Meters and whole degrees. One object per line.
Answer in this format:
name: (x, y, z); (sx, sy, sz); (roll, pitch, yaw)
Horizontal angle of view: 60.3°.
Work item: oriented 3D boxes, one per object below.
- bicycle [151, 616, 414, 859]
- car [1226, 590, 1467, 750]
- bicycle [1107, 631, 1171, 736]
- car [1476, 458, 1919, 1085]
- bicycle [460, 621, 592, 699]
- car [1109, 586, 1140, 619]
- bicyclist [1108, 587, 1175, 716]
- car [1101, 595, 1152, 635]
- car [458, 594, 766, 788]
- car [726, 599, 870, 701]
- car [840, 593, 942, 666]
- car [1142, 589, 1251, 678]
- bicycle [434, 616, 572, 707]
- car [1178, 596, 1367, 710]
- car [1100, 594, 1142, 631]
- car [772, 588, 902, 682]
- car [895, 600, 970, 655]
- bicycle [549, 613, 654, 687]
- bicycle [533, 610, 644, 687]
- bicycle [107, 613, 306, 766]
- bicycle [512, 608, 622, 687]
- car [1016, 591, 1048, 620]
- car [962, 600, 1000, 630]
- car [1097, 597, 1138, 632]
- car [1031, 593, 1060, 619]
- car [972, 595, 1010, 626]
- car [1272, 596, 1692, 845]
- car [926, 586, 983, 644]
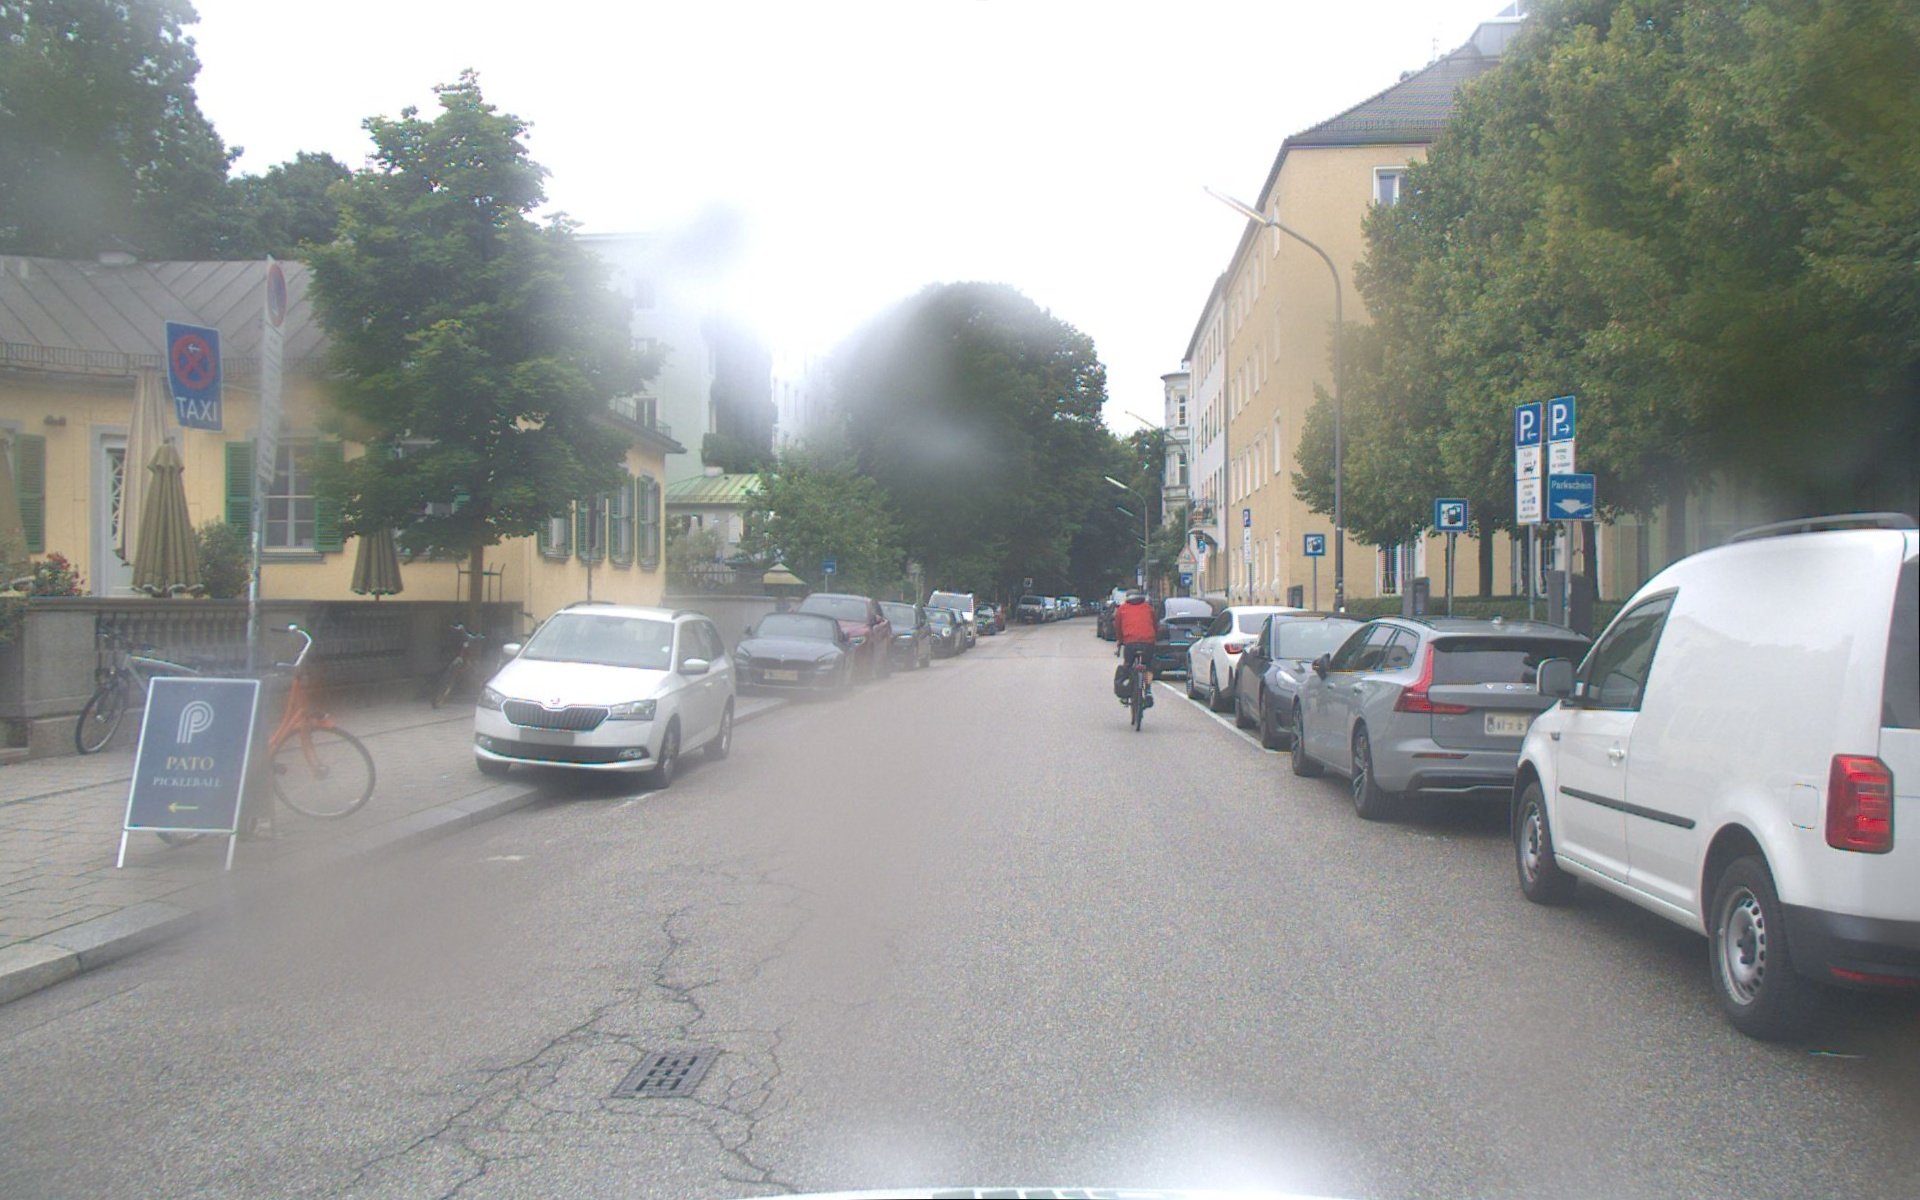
bicycle: (-4.257, 0.810, 10.539); (0.763, 1.393, 1.697); (0, 0, 10)
car: (4.288, 0.703, 19.113); (1.921, 1.579, 4.852); (1, 0, 4)
bicycle: (2.166, 0.971, 19.878); (0.658, 1.161, 2.012); (1, 0, 9)
car: (3.777, 0.543, 7.348); (1.747, 1.929, 4.576); (1, 0, 3)
bicycle: (-6.174, 0.839, 23.542); (1.687, 1.046, 0.645); (1, 1, 10)
car: (11.896, 0.180, 119.796); (2.157, 2.247, 4.858); (-2, -1, 5)
bicyclist: (2.198, 0.606, 19.909); (0.738, 1.509, 0.982); (1, 0, 9)
car: (7.068, 0.605, 70.670); (1.821, 1.604, 4.901); (-1, 0, 2)
car: (-3.046, 0.731, 15.469); (1.689, 1.518, 4.463); (1, 0, 3)
car: (-2.619, 0.773, 27.806); (1.857, 1.545, 4.656); (1, 0, 1)
car: (-1.607, 0.672, 40.080); (1.806, 1.636, 4.745); (1, 0, 5)
car: (4.790, 0.647, 34.112); (1.951, 1.659, 5.103); (1, 0, 5)
bicycle: (-5.947, 0.776, 21.544); (1.616, 1.107, 0.629); (-1, 1, -37)
car: (4.505, 0.710, 24.570); (1.952, 1.485, 4.958); (1, 0, 1)
car: (7.878, 0.591, 81.386); (1.951, 1.737, 4.537); (2, 0, 5)
car: (-2.377, 0.646, 33.197); (1.862, 1.721, 4.811); (1, 0, 5)
car: (-0.802, 0.819, 50.929); (1.819, 1.571, 4.190); (-2, 0, 5)
bicycle: (-5.744, 0.798, 26.543); (1.595, 1.157, 0.387); (0, 0, 2)
bicycle: (-5.868, 0.760, 26.172); (1.666, 1.192, 0.352); (0, 0, 2)
bicycle: (-6.796, 0.775, 14.953); (1.551, 1.284, 0.563); (-1, 1, -37)
bicycle: (-6.052, 0.723, 25.476); (1.594, 1.193, 0.467); (0, 0, 11)
car: (5.280, 0.395, 120.432); (2.200, 1.991, 5.456); (1, 0, 4)
car: (1.073, 0.720, 82.734); (1.770, 1.426, 4.925); (1, 0, 2)
car: (7.238, 0.648, 76.113); (1.799, 1.558, 4.418); (-1, 0, 5)
car: (6.862, 0.454, 132.057); (2.138, 1.991, 5.169); (1, 0, 4)
car: (1.775, 0.576, 92.451); (1.847, 1.618, 4.530); (1, 0, 4)
car: (3.854, 0.780, 13.234); (1.906, 1.579, 5.006); (1, 0, 2)
car: (-0.165, 0.538, 61.982); (1.926, 2.025, 5.153); (1, 0, 2)
